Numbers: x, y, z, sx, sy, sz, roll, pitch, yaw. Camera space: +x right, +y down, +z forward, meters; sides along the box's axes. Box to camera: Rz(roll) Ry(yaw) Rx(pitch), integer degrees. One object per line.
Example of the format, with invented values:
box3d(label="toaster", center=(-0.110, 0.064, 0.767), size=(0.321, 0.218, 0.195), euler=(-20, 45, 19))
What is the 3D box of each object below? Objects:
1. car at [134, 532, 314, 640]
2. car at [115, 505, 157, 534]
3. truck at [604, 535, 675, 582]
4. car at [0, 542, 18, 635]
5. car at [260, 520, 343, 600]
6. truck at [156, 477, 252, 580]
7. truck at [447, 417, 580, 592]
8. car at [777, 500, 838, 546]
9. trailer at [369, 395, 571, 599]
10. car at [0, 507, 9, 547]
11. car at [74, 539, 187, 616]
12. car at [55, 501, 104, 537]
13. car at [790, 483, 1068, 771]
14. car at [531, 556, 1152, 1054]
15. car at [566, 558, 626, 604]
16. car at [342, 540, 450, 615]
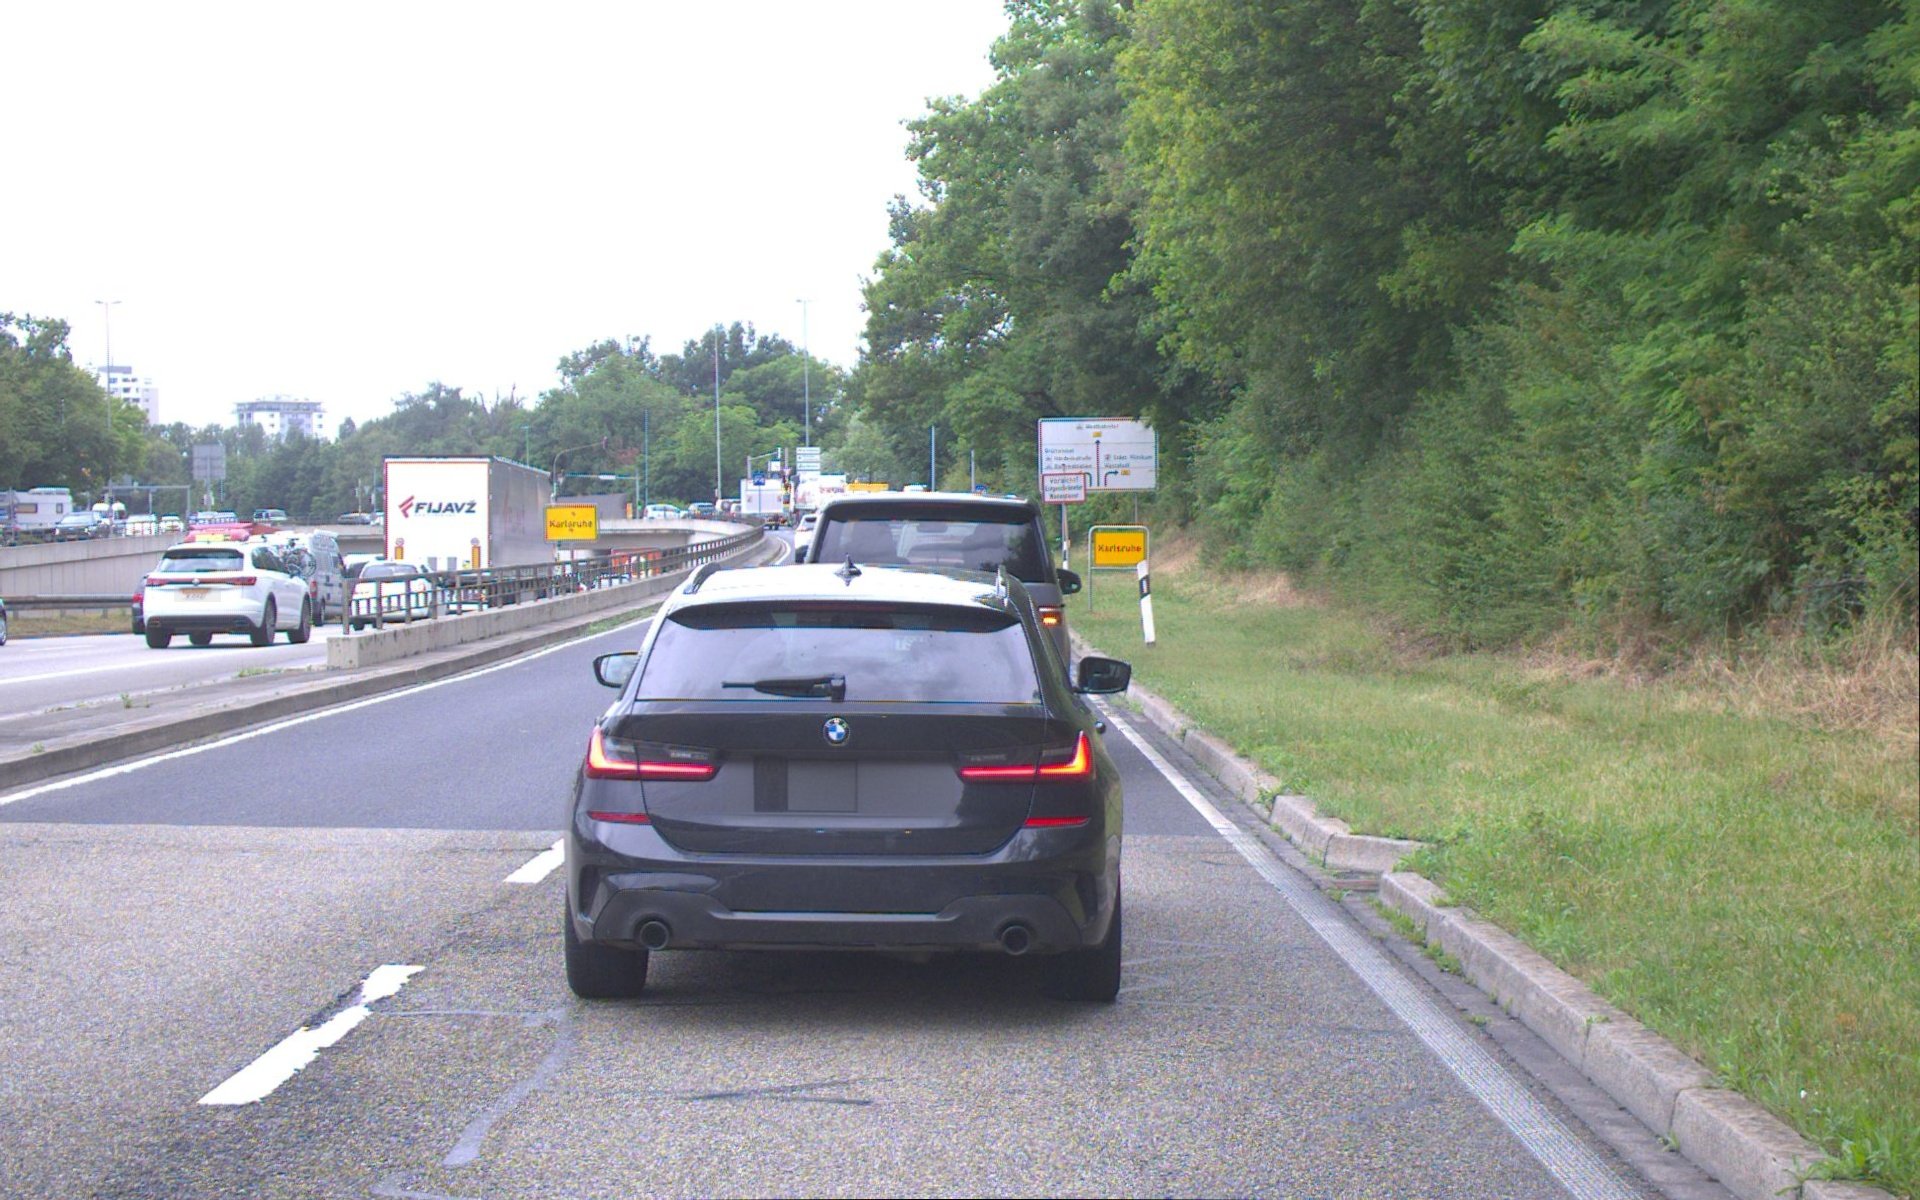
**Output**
box3d(label="car", center=(-11.902, -0.266, 55.883), size=(1.946, 1.686, 4.507), euler=(0, 1, 0))
box3d(label="car", center=(-41.182, -3.998, 171.784), size=(1.437, 1.441, 3.244), euler=(0, 1, -3))
box3d(label="truck", center=(-17.739, -2.325, 190.634), size=(3.274, 2.500, 7.661), euler=(0, 1, -1))
box3d(label="car", center=(-17.360, -0.194, 58.386), size=(1.687, 1.602, 4.008), euler=(1, 1, -1))
box3d(label="car", center=(-17.289, -1.067, 90.362), size=(1.443, 2.037, 3.680), euler=(0, 1, 1))
box3d(label="truck", center=(-30.204, -2.838, 137.518), size=(2.763, 4.050, 4.907), euler=(0, 1, 0))
box3d(label="truck", center=(-12.347, -2.626, 95.340), size=(3.084, 4.681, 4.232), euler=(1, 1, 0))
box3d(label="car", center=(-5.336, -2.685, 120.604), size=(1.931, 1.590, 3.877), euler=(0, 1, 1))
box3d(label="trailer", center=(-12.305, -2.519, 87.835), size=(3.132, 4.709, 14.559), euler=(1, 1, 0))
box3d(label="car", center=(-38.386, -2.872, 134.589), size=(1.437, 1.568, 3.244), euler=(0, 1, -1))
box3d(label="car", center=(-18.575, -0.524, 77.095), size=(1.687, 1.626, 3.735), euler=(1, 1, -1))
box3d(label="car", center=(-39.668, -3.653, 154.918), size=(1.437, 1.580, 3.244), euler=(0, 1, -1))
box3d(label="car", center=(-0.206, 0.142, 24.410), size=(1.796, 1.865, 4.000), euler=(0, 1, 0))
box3d(label="car", center=(-0.417, 0.591, 12.273), size=(1.846, 1.461, 4.000), euler=(0, 1, -2))
box3d(label="car", center=(-12.375, -0.667, 117.127), size=(1.701, 1.523, 3.470), euler=(0, 1, -1))
box3d(label="car", center=(-11.834, -0.492, 72.253), size=(1.768, 1.544, 3.493), euler=(0, 1, -1))
